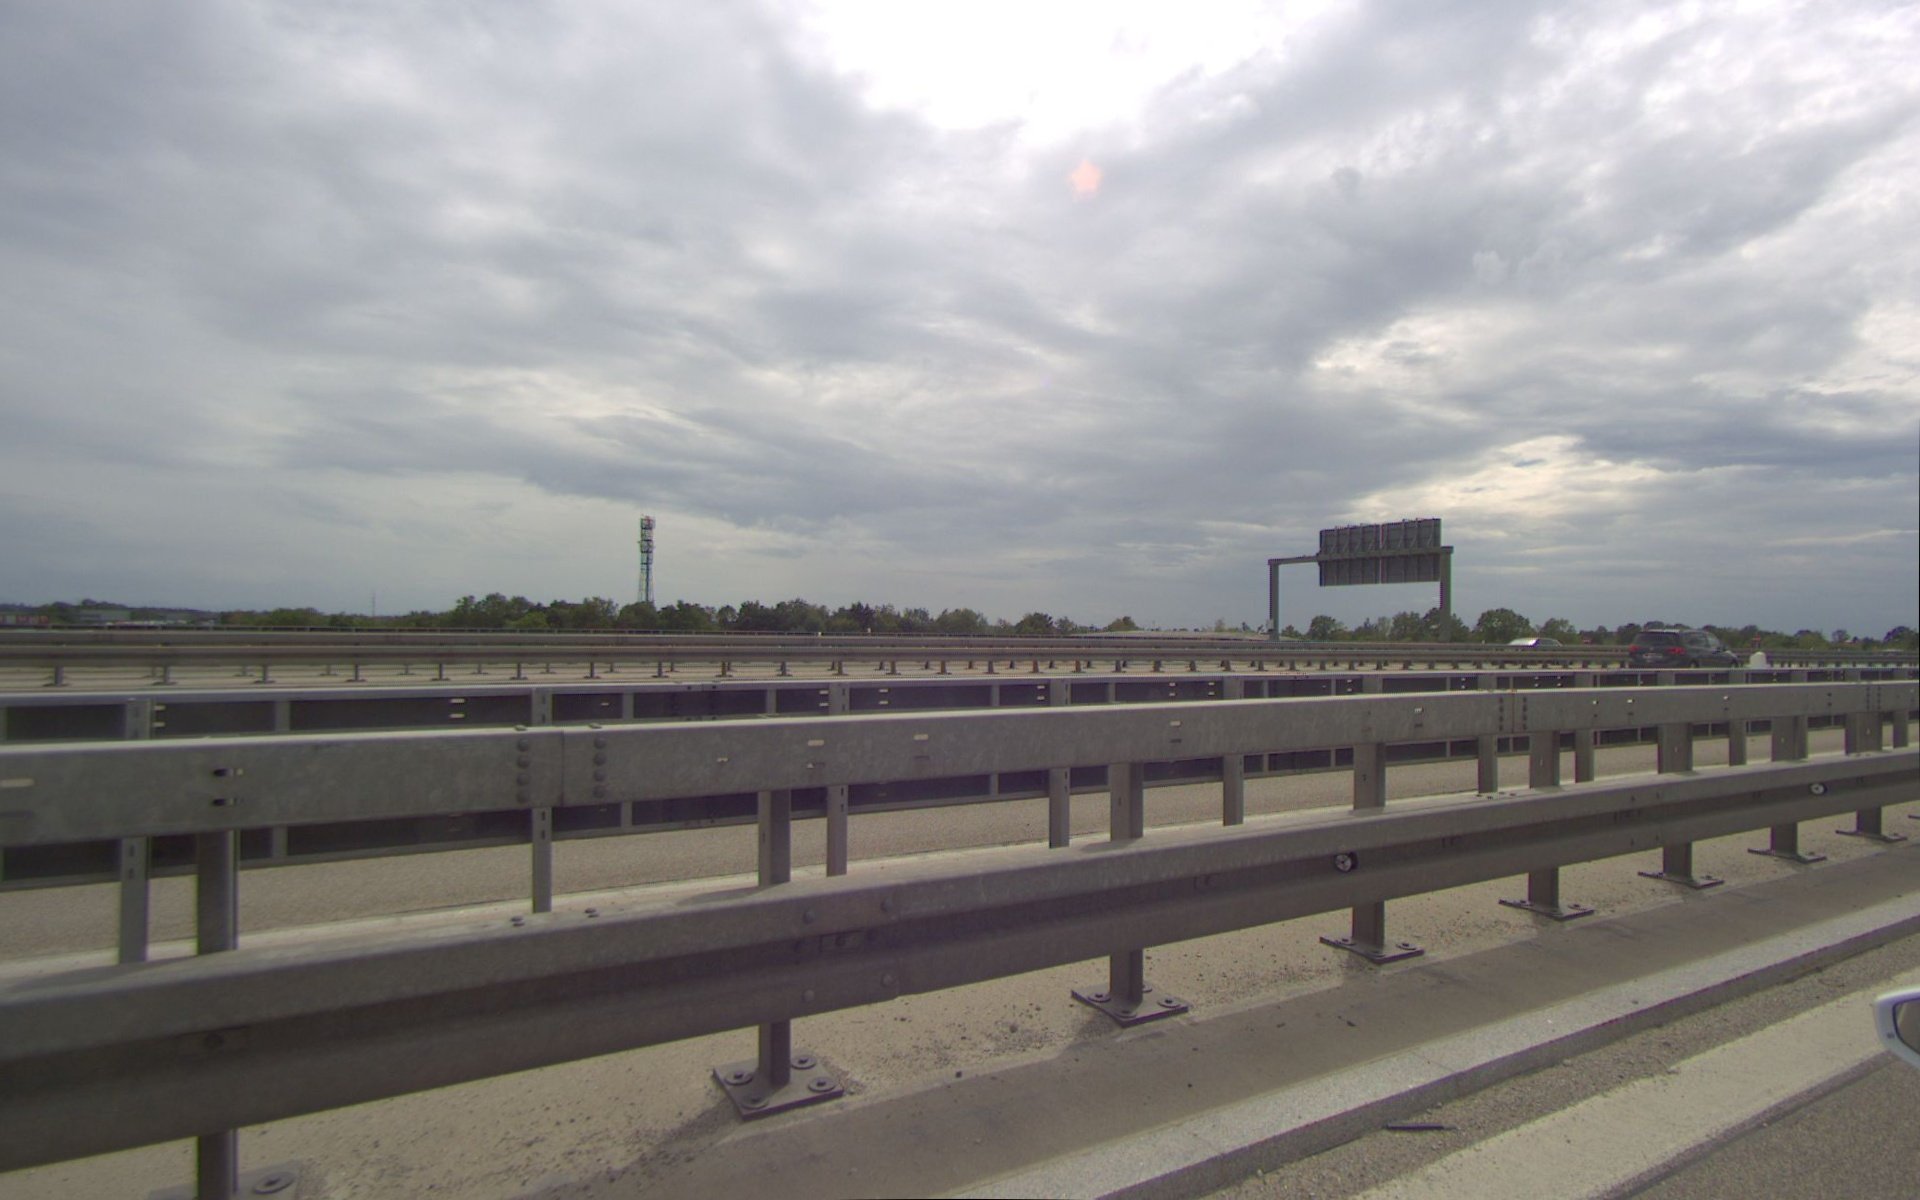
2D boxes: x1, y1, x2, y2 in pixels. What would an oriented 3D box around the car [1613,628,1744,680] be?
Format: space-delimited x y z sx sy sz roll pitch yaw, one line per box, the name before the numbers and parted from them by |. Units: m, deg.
car | 24.102 1.777 33.660 4.561 1.567 1.871 1 0 -31
